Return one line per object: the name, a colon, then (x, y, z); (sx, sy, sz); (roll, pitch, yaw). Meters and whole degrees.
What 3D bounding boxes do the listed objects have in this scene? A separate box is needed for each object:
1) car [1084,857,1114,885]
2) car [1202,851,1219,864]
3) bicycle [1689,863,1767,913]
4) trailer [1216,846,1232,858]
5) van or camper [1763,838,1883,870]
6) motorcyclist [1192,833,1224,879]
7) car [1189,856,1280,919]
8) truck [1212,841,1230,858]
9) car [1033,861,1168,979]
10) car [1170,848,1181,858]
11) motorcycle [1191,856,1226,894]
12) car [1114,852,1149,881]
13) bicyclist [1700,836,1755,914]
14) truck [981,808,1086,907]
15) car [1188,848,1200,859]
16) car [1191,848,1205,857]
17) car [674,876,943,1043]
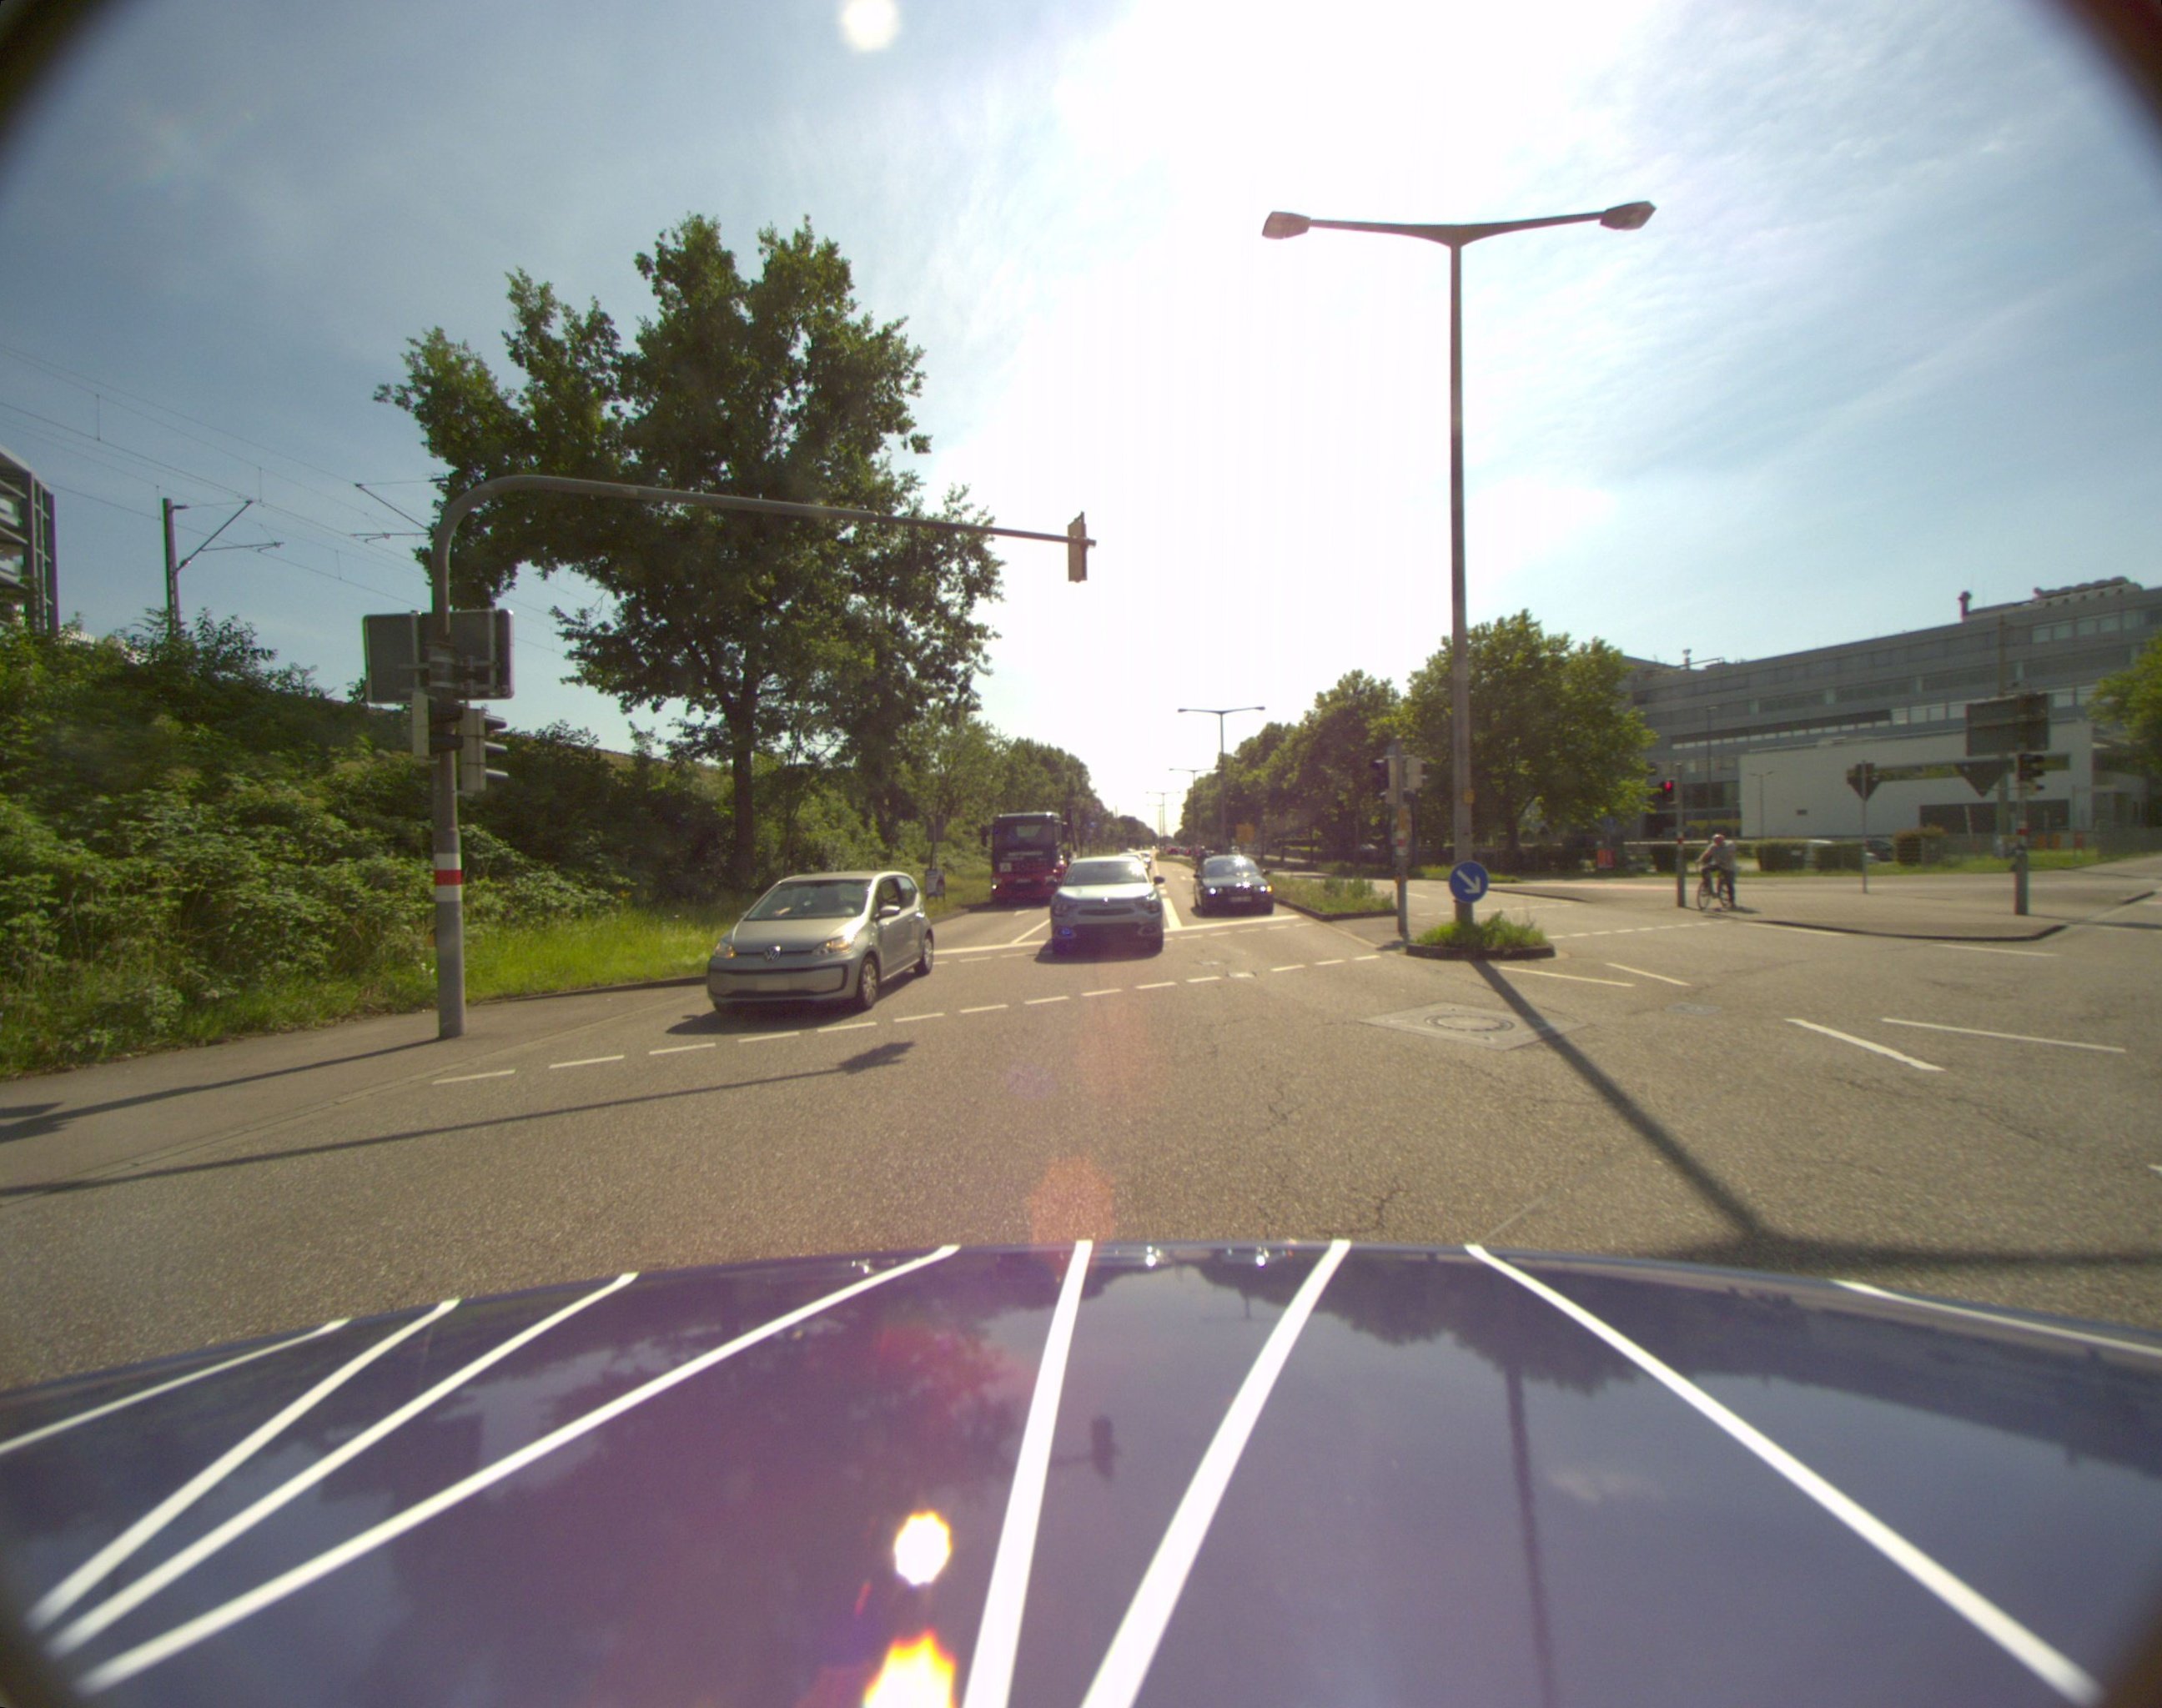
car: (1.401, 1.256, 58.065); (1.998, 2.002, 4.001); (-2, 0, 5)
car: (15.977, 0.457, 94.009); (1.653, 1.505, 3.737); (-2, 0, 5)
bicycle: (15.216, 0.772, 17.860); (2.168, 1.058, 0.524); (-2, 1, -24)
trailer: (20.428, -0.278, 108.545); (2.066, 1.706, 3.992); (-2, 0, 7)
van or camper: (41.952, 0.012, 43.073); (2.003, 1.682, 4.501); (-2, 0, -33)
motorcyclist: (4.762, 0.066, 28.501); (1.066, 1.689, 1.042); (-2, 1, 4)
car: (3.851, 0.786, 19.679); (1.730, 1.354, 4.068); (-3, 0, 4)
truck: (21.029, -0.707, 114.087); (2.144, 2.461, 7.132); (-1, 0, 7)
car: (0.511, 0.934, 12.813); (1.825, 1.521, 4.753); (-2, 0, 6)
car: (19.258, -0.220, 155.137); (1.998, 2.002, 4.001); (-2, 0, 5)
motorcycle: (4.789, 0.756, 28.699); (1.051, 1.343, 2.332); (-2, 0, 4)
car: (2.954, 0.689, 43.857); (1.825, 1.521, 4.549); (-2, 0, 6)
bicyclist: (15.207, 0.476, 17.869); (0.769, 1.778, 0.704); (-2, 1, -25)
truck: (-1.574, 0.110, 28.960); (2.775, 3.248, 7.485); (-1, 0, 5)
car: (21.463, -0.150, 144.357); (1.998, 2.002, 4.001); (-2, 0, 5)
car: (19.250, -0.291, 124.832); (1.852, 1.426, 3.767); (-2, 0, 4)
car: (-2.928, 1.063, 9.059); (1.704, 1.429, 3.679); (-1, 0, 3)
